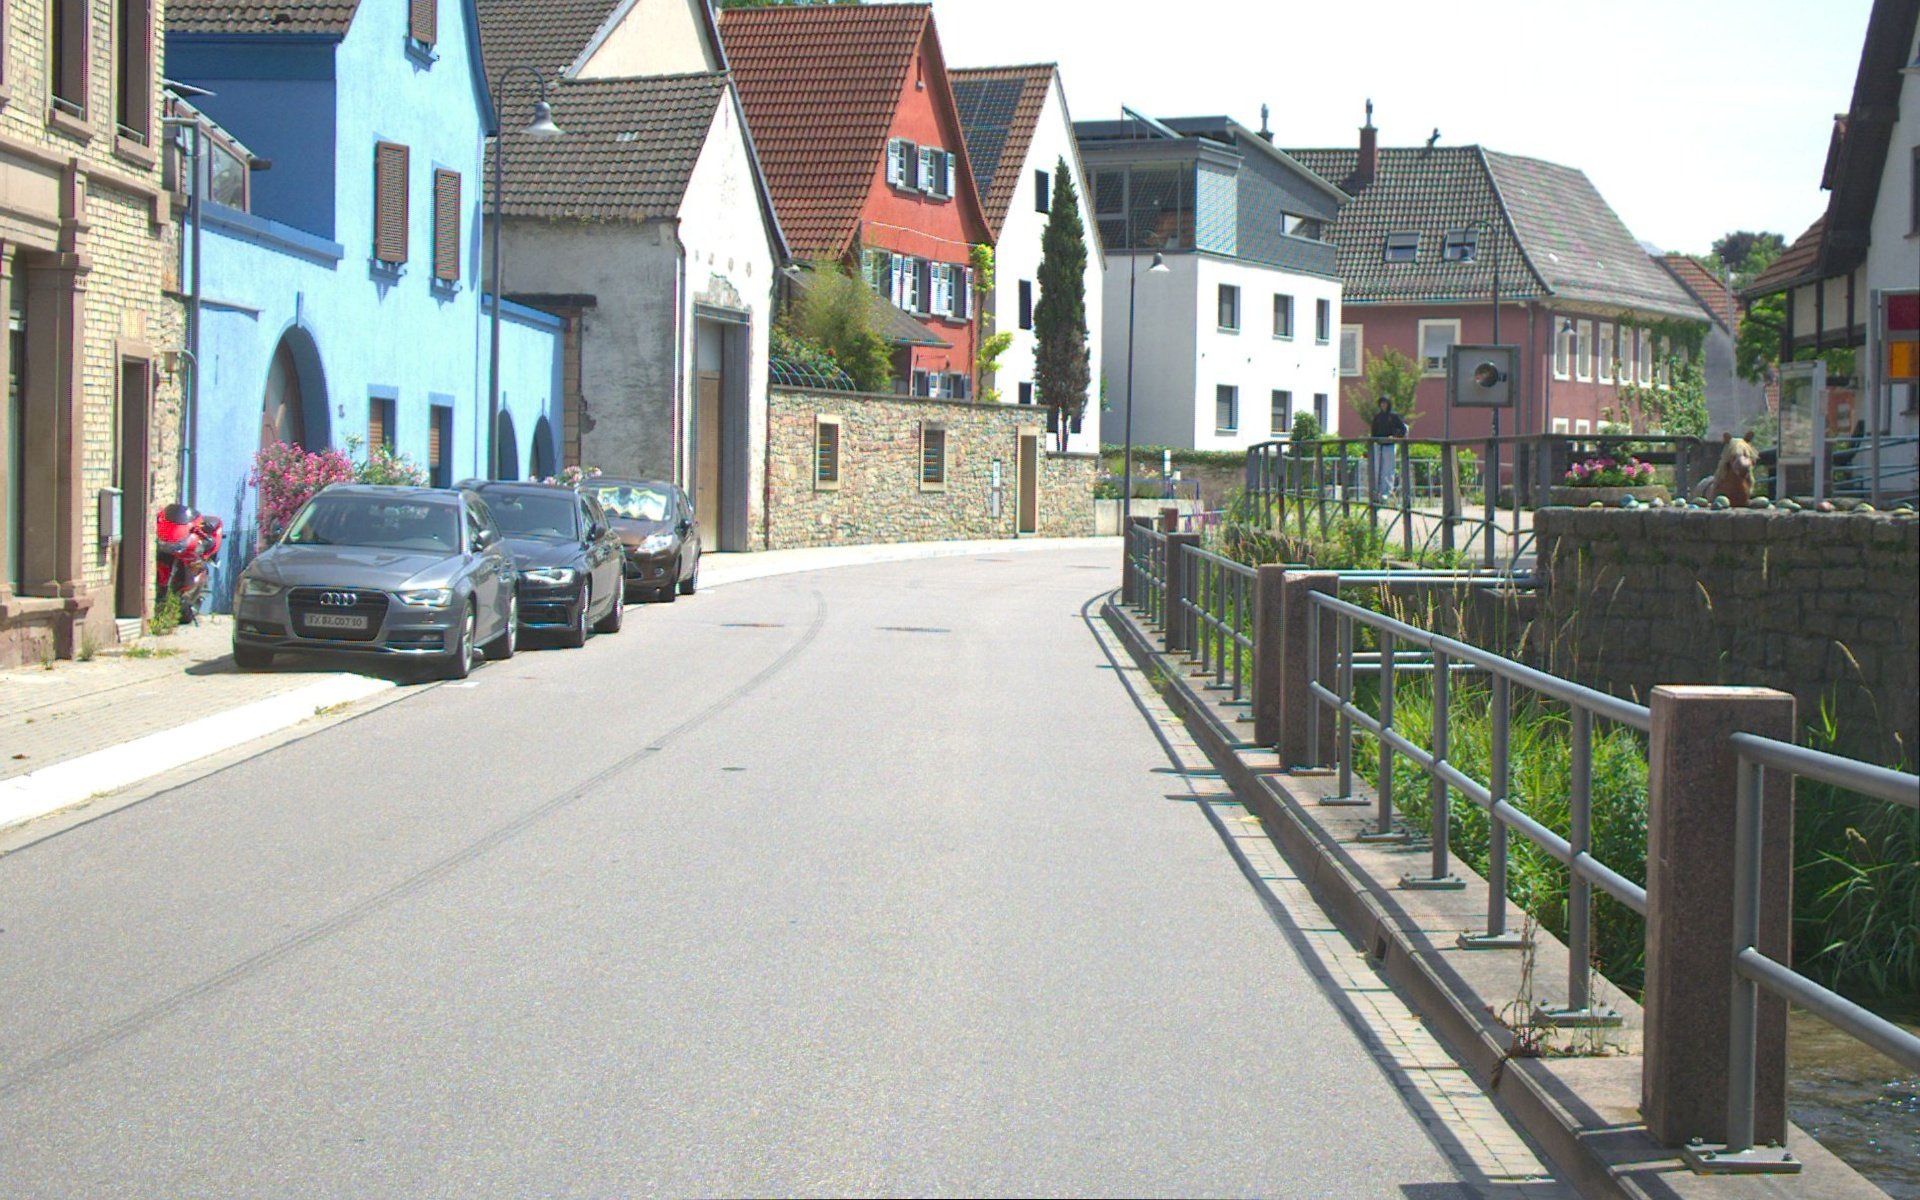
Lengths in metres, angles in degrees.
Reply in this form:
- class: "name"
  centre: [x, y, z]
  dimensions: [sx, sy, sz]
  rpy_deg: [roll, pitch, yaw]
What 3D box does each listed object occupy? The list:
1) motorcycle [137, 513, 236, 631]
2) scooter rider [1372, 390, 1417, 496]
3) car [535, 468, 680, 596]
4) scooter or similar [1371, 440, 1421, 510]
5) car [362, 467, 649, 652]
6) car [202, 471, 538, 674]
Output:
- class: "motorcycle"
  centre: [-7.020, -0.267, 31.267]
  dimensions: [0.417, 0.997, 1.859]
  rpy_deg: [6, 2, -1]
- class: "scooter rider"
  centre: [7.216, -2.605, 57.121]
  dimensions: [0.641, 1.725, 0.554]
  rpy_deg: [2, 2, 1]
- class: "car"
  centre: [-4.393, -0.869, 43.131]
  dimensions: [1.717, 1.524, 3.857]
  rpy_deg: [0, 2, -5]
- class: "scooter or similar"
  centre: [7.217, -2.062, 56.997]
  dimensions: [0.641, 1.138, 1.811]
  rpy_deg: [0, 2, 1]
- class: "car"
  centre: [-4.251, -0.449, 32.847]
  dimensions: [1.885, 1.459, 4.669]
  rpy_deg: [4, 3, 2]
- class: "car"
  centre: [-4.699, -0.264, 28.018]
  dimensions: [1.956, 1.460, 4.546]
  rpy_deg: [2, 1, -1]
